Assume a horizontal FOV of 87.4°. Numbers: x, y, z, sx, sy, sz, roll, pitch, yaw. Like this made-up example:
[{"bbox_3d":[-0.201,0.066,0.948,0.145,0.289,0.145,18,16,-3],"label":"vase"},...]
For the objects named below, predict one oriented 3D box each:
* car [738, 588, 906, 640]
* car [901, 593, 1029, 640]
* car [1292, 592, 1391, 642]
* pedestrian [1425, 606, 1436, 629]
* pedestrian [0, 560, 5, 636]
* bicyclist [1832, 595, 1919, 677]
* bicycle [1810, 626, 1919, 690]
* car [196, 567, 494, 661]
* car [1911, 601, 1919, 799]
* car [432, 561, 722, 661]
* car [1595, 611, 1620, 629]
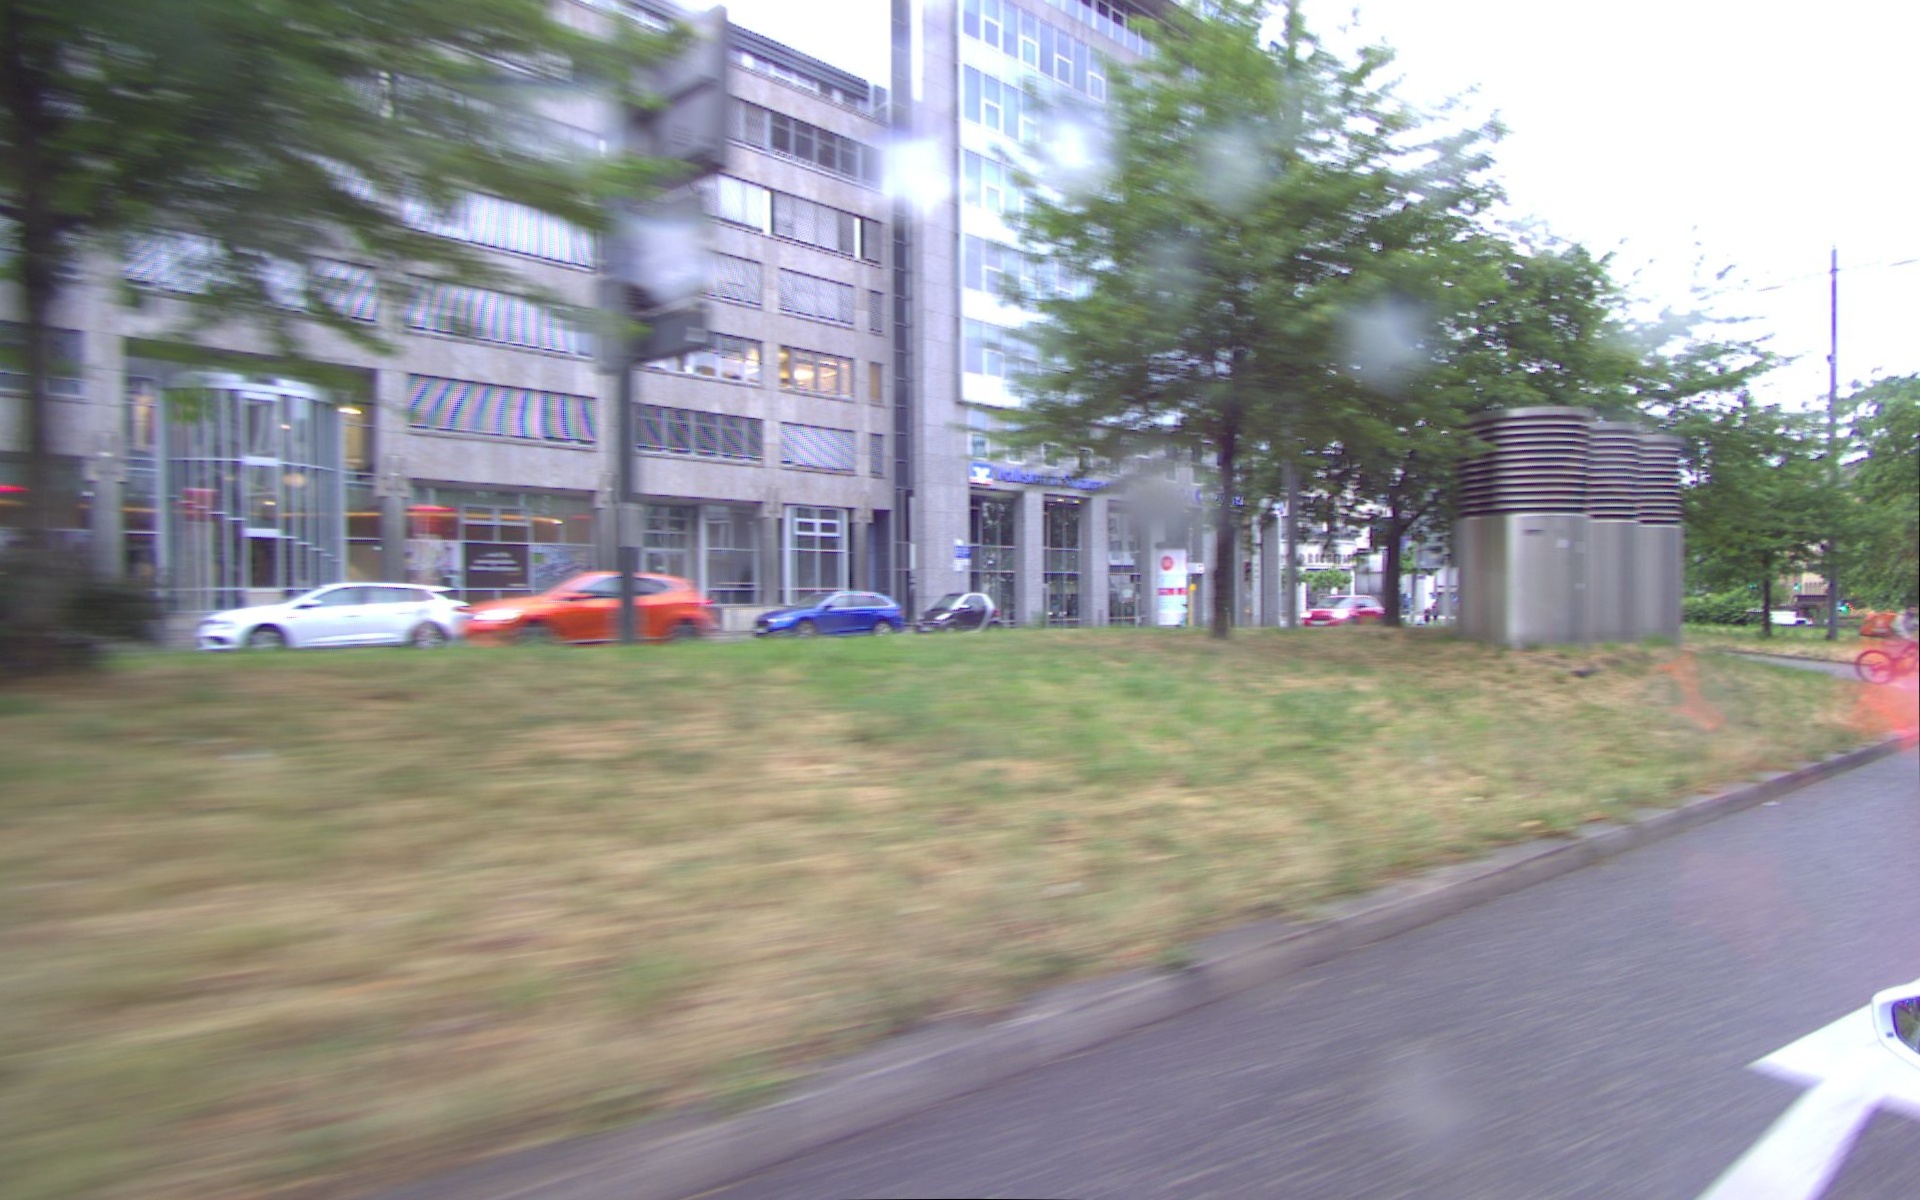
[{"bbox_3d":[-3.825,0.384,28.357,4.444,1.343,1.874,1,0,-43],"label":"car"},{"bbox_3d":[0.201,0.511,32.217,3.985,1.420,1.760,0,-1,-42],"label":"car"},{"bbox_3d":[13.926,0.605,36.554,3.974,1.723,1.925,1,0,-45],"label":"car"},{"bbox_3d":[37.449,1.366,79.921,0.612,1.786,0.722,-3,-3,39],"label":"pedestrian"},{"bbox_3d":[-23.389,-0.059,24.163,0.524,1.812,0.713,0,1,-37],"label":"pedestrian"},{"bbox_3d":[18.915,0.725,20.606,0.998,1.603,1.132,2,2,-17],"label":"bicyclist"},{"bbox_3d":[18.920,1.177,20.577,0.995,1.129,2.060,2,2,-16],"label":"bicycle"},{"bbox_3d":[-12.063,0.253,19.910,4.872,1.644,1.761,1,0,-40],"label":"car"},{"bbox_3d":[10.111,0.837,8.984,4.216,1.638,1.832,0,1,-40],"label":"car"},{"bbox_3d":[-6.223,0.167,16.585,4.102,1.448,1.844,0,-1,-43],"label":"car"},{"bbox_3d":[58.042,1.791,89.978,1.780,1.506,3.988,2,1,34],"label":"car"}]
